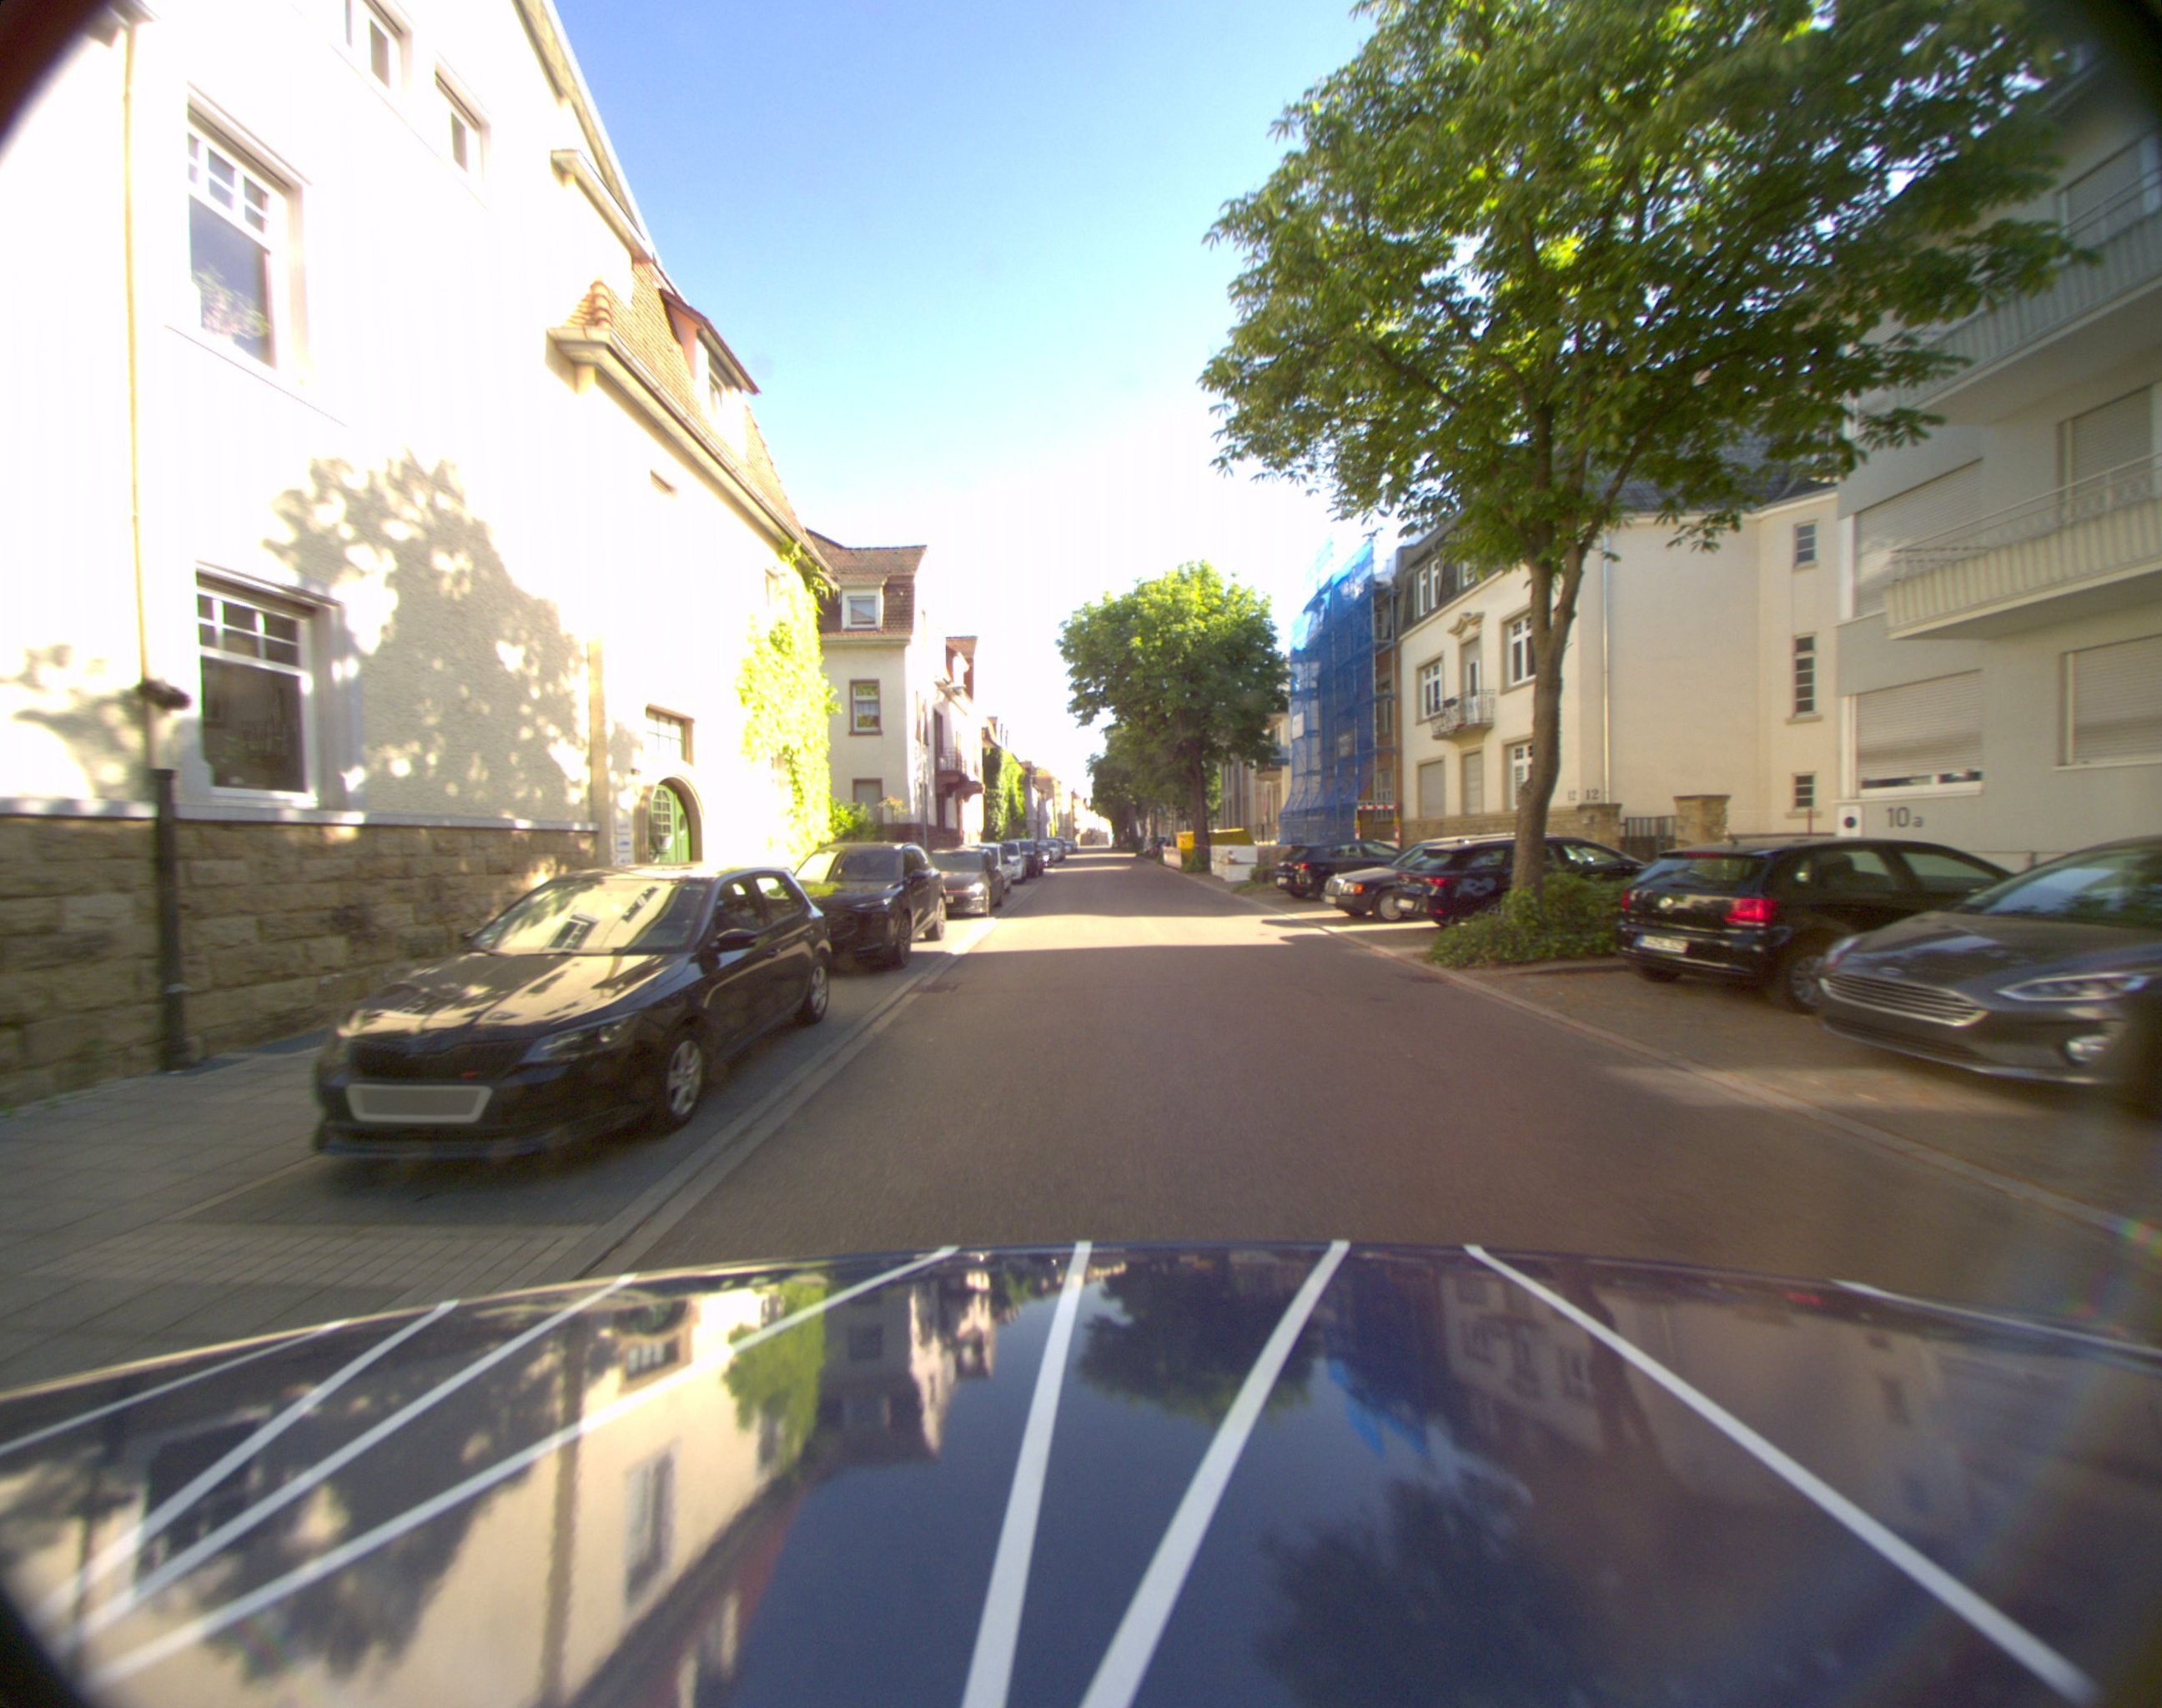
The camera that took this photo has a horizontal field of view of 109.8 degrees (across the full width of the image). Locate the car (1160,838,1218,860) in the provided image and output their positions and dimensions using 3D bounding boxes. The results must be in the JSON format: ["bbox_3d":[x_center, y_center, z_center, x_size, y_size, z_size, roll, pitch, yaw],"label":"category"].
[{"bbox_3d":[7.267,-0.338,51.352,3.735,1.456,1.715,0,1,2],"label":"car"}]

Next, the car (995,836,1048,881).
[{"bbox_3d":[-2.544,0.119,33.519,1.782,1.687,4.318,-3,3,1],"label":"car"}]

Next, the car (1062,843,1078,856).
[{"bbox_3d":[-1.399,-0.613,97.608,1.822,1.530,4.160,-3,1,2],"label":"car"}]

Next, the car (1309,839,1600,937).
[{"bbox_3d":[6.887,0.576,14.341,4.601,1.598,1.832,-1,2,-1],"label":"car"}]

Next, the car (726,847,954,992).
[{"bbox_3d":[-3.095,0.723,10.803,1.796,1.512,4.365,0,3,0],"label":"car"}]

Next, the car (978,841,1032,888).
[{"bbox_3d":[-2.791,0.348,28.439,1.629,1.541,2.868,-2,3,1],"label":"car"}]

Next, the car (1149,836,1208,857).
[{"bbox_3d":[7.198,-0.541,56.294,4.150,1.393,1.710,-2,1,1],"label":"car"}]

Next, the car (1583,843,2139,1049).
[{"bbox_3d":[6.895,0.719,6.977,3.488,1.413,1.709,-3,3,-4],"label":"car"}]

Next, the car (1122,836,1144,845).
[{"bbox_3d":[8.624,-2.230,125.755,3.496,1.421,1.542,-2,2,0],"label":"car"}]

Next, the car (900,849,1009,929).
[{"bbox_3d":[-2.714,0.679,17.177,1.713,1.428,4.191,1,3,0],"label":"car"}]

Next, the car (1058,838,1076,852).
[{"bbox_3d":[-1.595,-1.034,87.844,1.813,1.546,4.105,-2,1,1],"label":"car"}]

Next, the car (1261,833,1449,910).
[{"bbox_3d":[6.667,0.380,18.695,3.882,1.506,1.831,-4,2,-8],"label":"car"}]

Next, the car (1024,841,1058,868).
[{"bbox_3d":[-2.293,-0.019,44.667,1.648,1.446,4.501,-2,1,1],"label":"car"}]

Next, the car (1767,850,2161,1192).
[{"bbox_3d":[6.558,0.763,4.344,3.652,1.455,1.710,-3,2,3],"label":"car"}]

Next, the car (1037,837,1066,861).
[{"bbox_3d":[-2.154,-0.387,56.182,1.872,1.635,4.198,-1,2,1],"label":"car"}]

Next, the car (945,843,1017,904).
[{"bbox_3d":[-2.828,0.507,22.073,1.579,1.541,3.467,0,3,0],"label":"car"}]

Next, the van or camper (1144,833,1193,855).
[{"bbox_3d":[7.488,-0.857,65.000,3.953,1.763,1.809,-2,1,0],"label":"van or camper"}]

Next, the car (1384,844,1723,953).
[{"bbox_3d":[7.158,0.632,11.806,4.198,1.433,1.712,-2,2,0],"label":"car"}]

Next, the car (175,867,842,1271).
[{"bbox_3d":[-3.076,0.964,5.286,1.667,1.512,3.999,0,3,-2],"label":"car"}]
